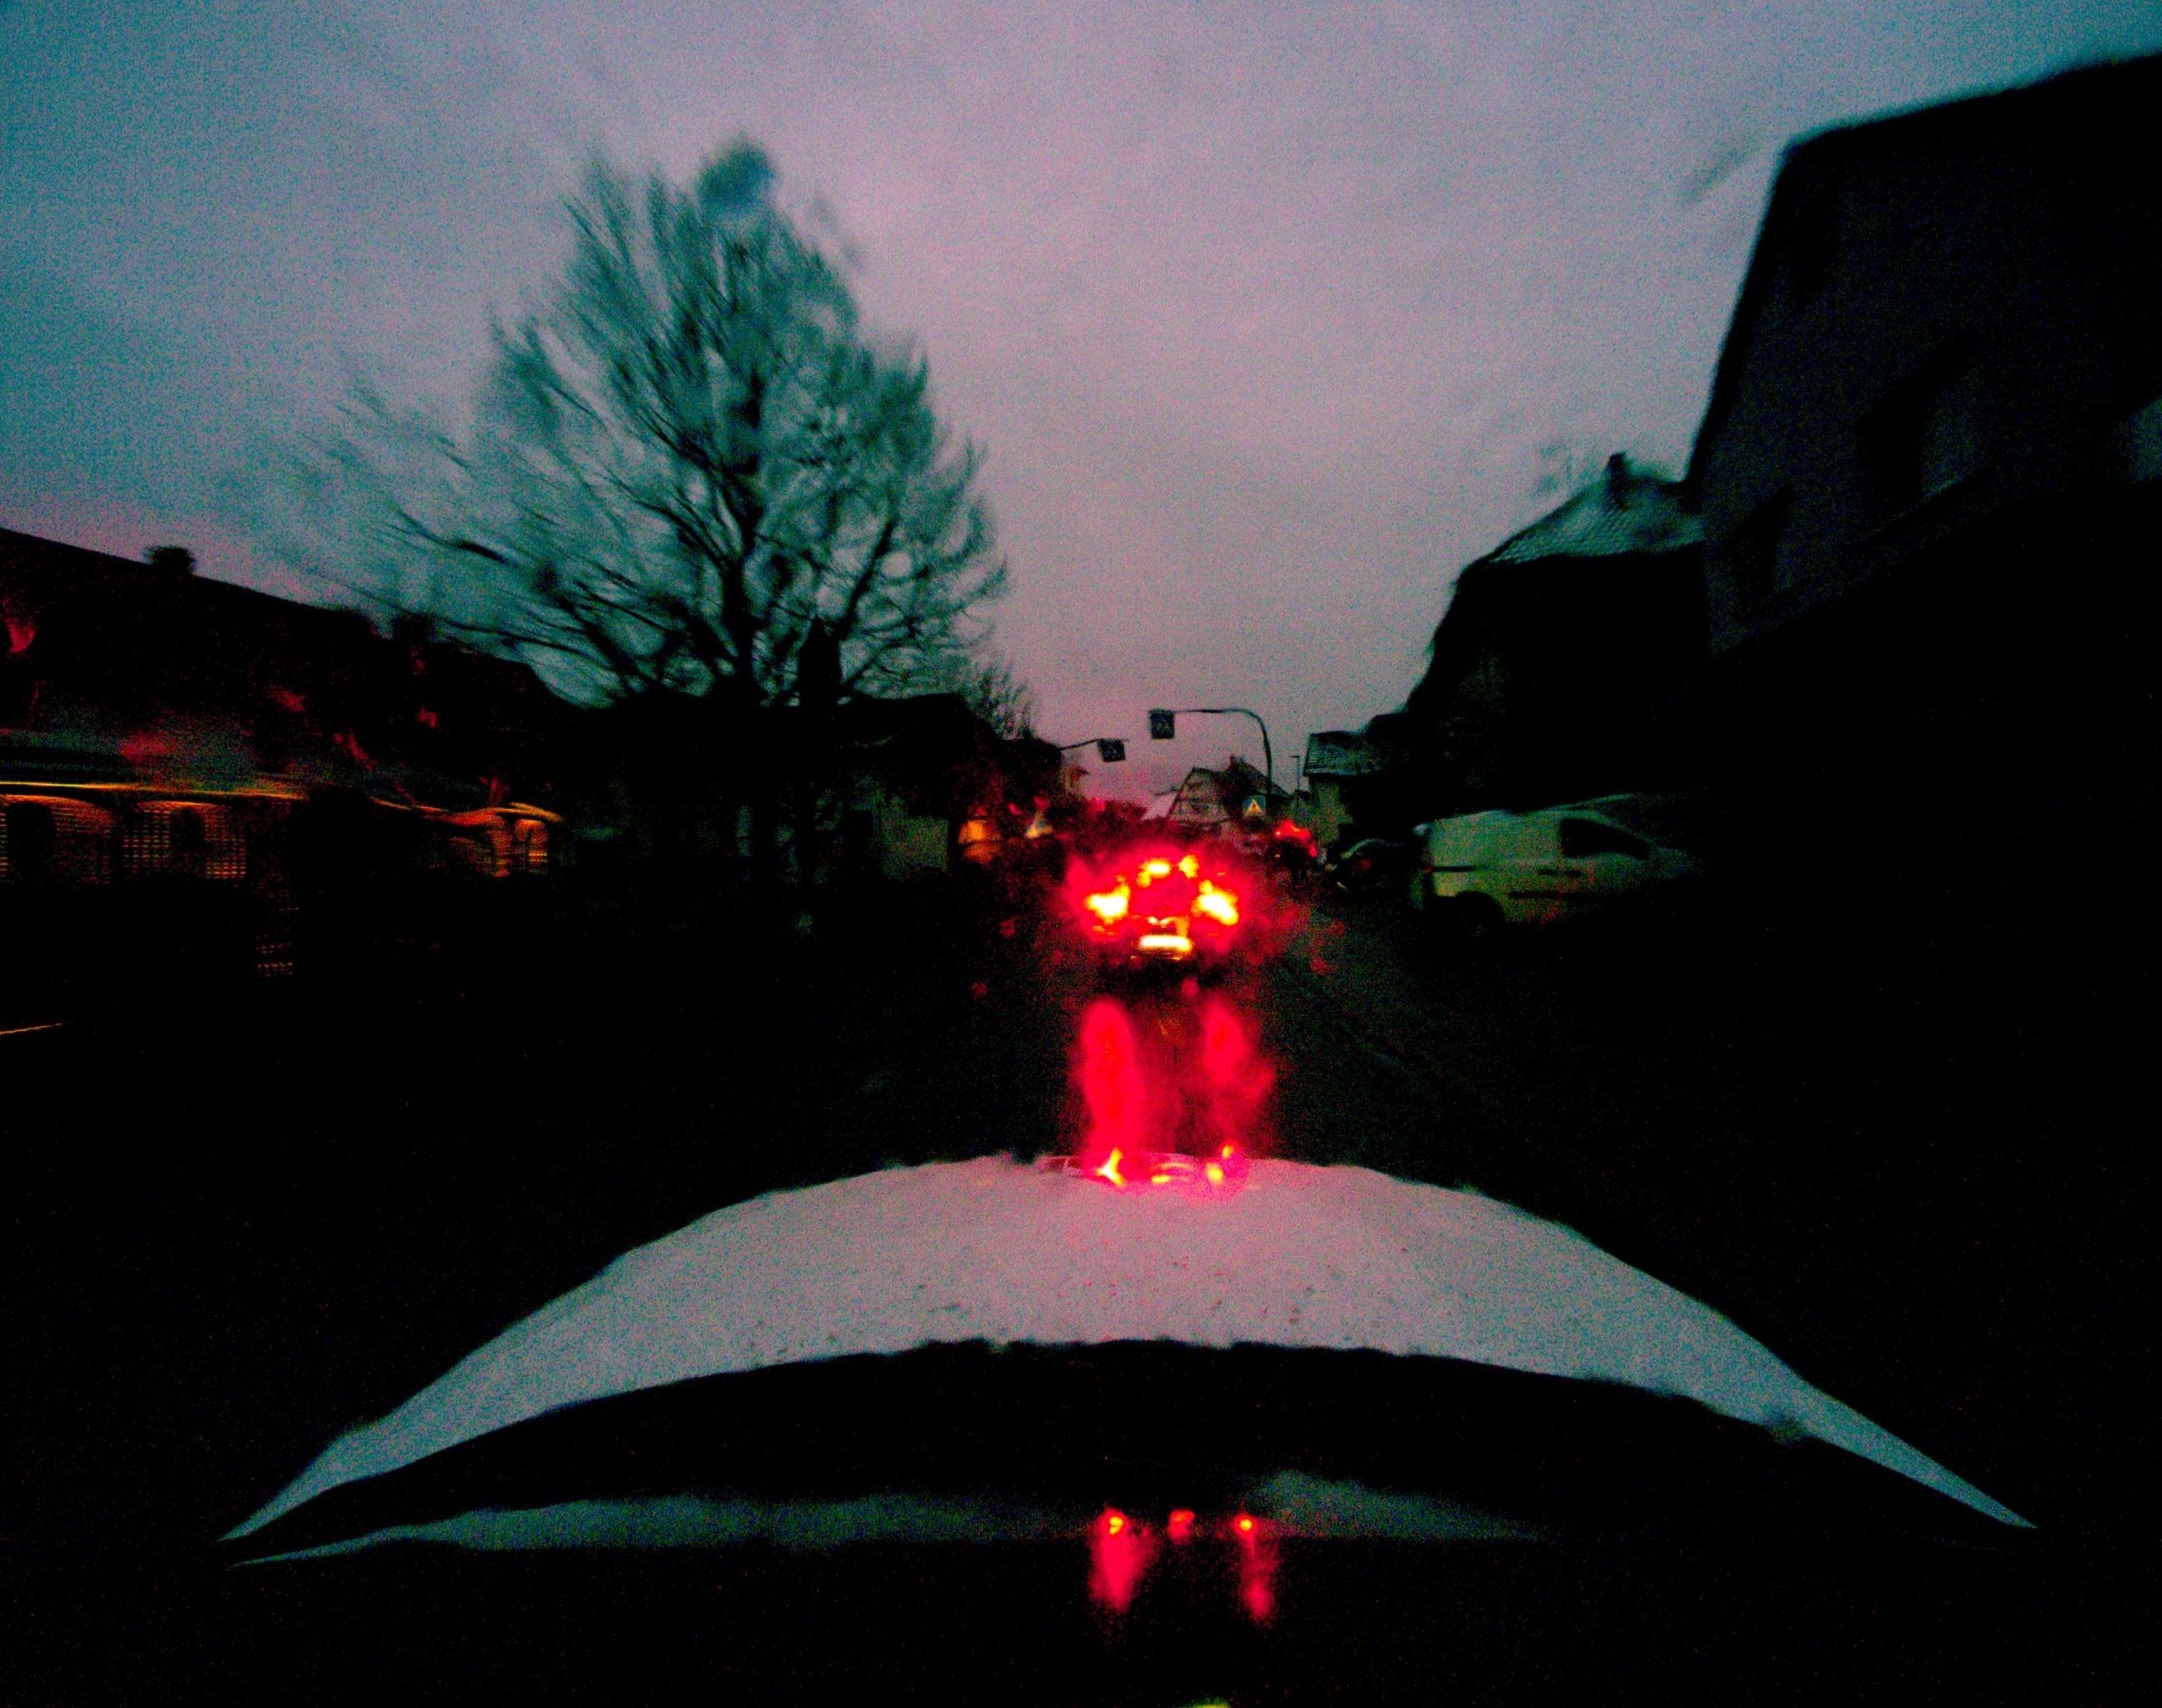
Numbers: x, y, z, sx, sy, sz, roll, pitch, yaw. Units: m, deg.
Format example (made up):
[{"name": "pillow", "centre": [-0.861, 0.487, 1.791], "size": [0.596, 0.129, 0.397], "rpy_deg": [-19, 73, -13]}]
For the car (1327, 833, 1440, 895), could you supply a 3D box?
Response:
[{"name": "car", "centre": [8.244, 0.268, 22.392], "size": [2.742, 1.474, 1.433], "rpy_deg": [-4, -1, 15]}]

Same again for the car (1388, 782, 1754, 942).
[{"name": "car", "centre": [6.766, 0.132, 11.722], "size": [4.017, 1.843, 1.869], "rpy_deg": [-4, -1, 10]}]

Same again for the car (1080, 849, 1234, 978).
[{"name": "car", "centre": [0.996, 0.693, 11.594], "size": [1.788, 1.476, 4.003], "rpy_deg": [-1, 0, 3]}]

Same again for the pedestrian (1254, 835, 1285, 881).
[{"name": "pedestrian", "centre": [7.185, 0.142, 30.996], "size": [0.859, 1.667, 0.997], "rpy_deg": [-6, -1, 23]}]

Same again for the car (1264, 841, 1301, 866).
[{"name": "car", "centre": [14.233, -0.038, 57.371], "size": [1.831, 1.637, 4.360], "rpy_deg": [-1, 0, 23]}]

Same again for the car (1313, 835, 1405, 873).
[{"name": "car", "centre": [12.933, 0.005, 37.982], "size": [3.868, 1.474, 1.759], "rpy_deg": [-4, -1, 18]}]

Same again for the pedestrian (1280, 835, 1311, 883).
[{"name": "pedestrian", "centre": [8.041, 0.181, 30.550], "size": [0.841, 1.733, 0.977], "rpy_deg": [-6, -1, 23]}]

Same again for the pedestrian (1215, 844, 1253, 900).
[{"name": "pedestrian", "centre": [5.016, 0.566, 26.704], "size": [0.872, 1.735, 0.961], "rpy_deg": [-6, -1, 23]}]

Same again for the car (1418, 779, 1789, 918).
[{"name": "car", "centre": [8.664, -0.059, 14.055], "size": [4.944, 1.889, 1.945], "rpy_deg": [-4, 0, 15]}]

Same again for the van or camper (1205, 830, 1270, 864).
[{"name": "van or camper", "centre": [16.273, -0.681, 84.928], "size": [6.002, 2.955, 2.421], "rpy_deg": [-6, -2, 30]}]

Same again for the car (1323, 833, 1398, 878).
[{"name": "car", "centre": [10.770, 0.034, 31.492], "size": [2.564, 1.547, 1.558], "rpy_deg": [-4, 0, 15]}]
